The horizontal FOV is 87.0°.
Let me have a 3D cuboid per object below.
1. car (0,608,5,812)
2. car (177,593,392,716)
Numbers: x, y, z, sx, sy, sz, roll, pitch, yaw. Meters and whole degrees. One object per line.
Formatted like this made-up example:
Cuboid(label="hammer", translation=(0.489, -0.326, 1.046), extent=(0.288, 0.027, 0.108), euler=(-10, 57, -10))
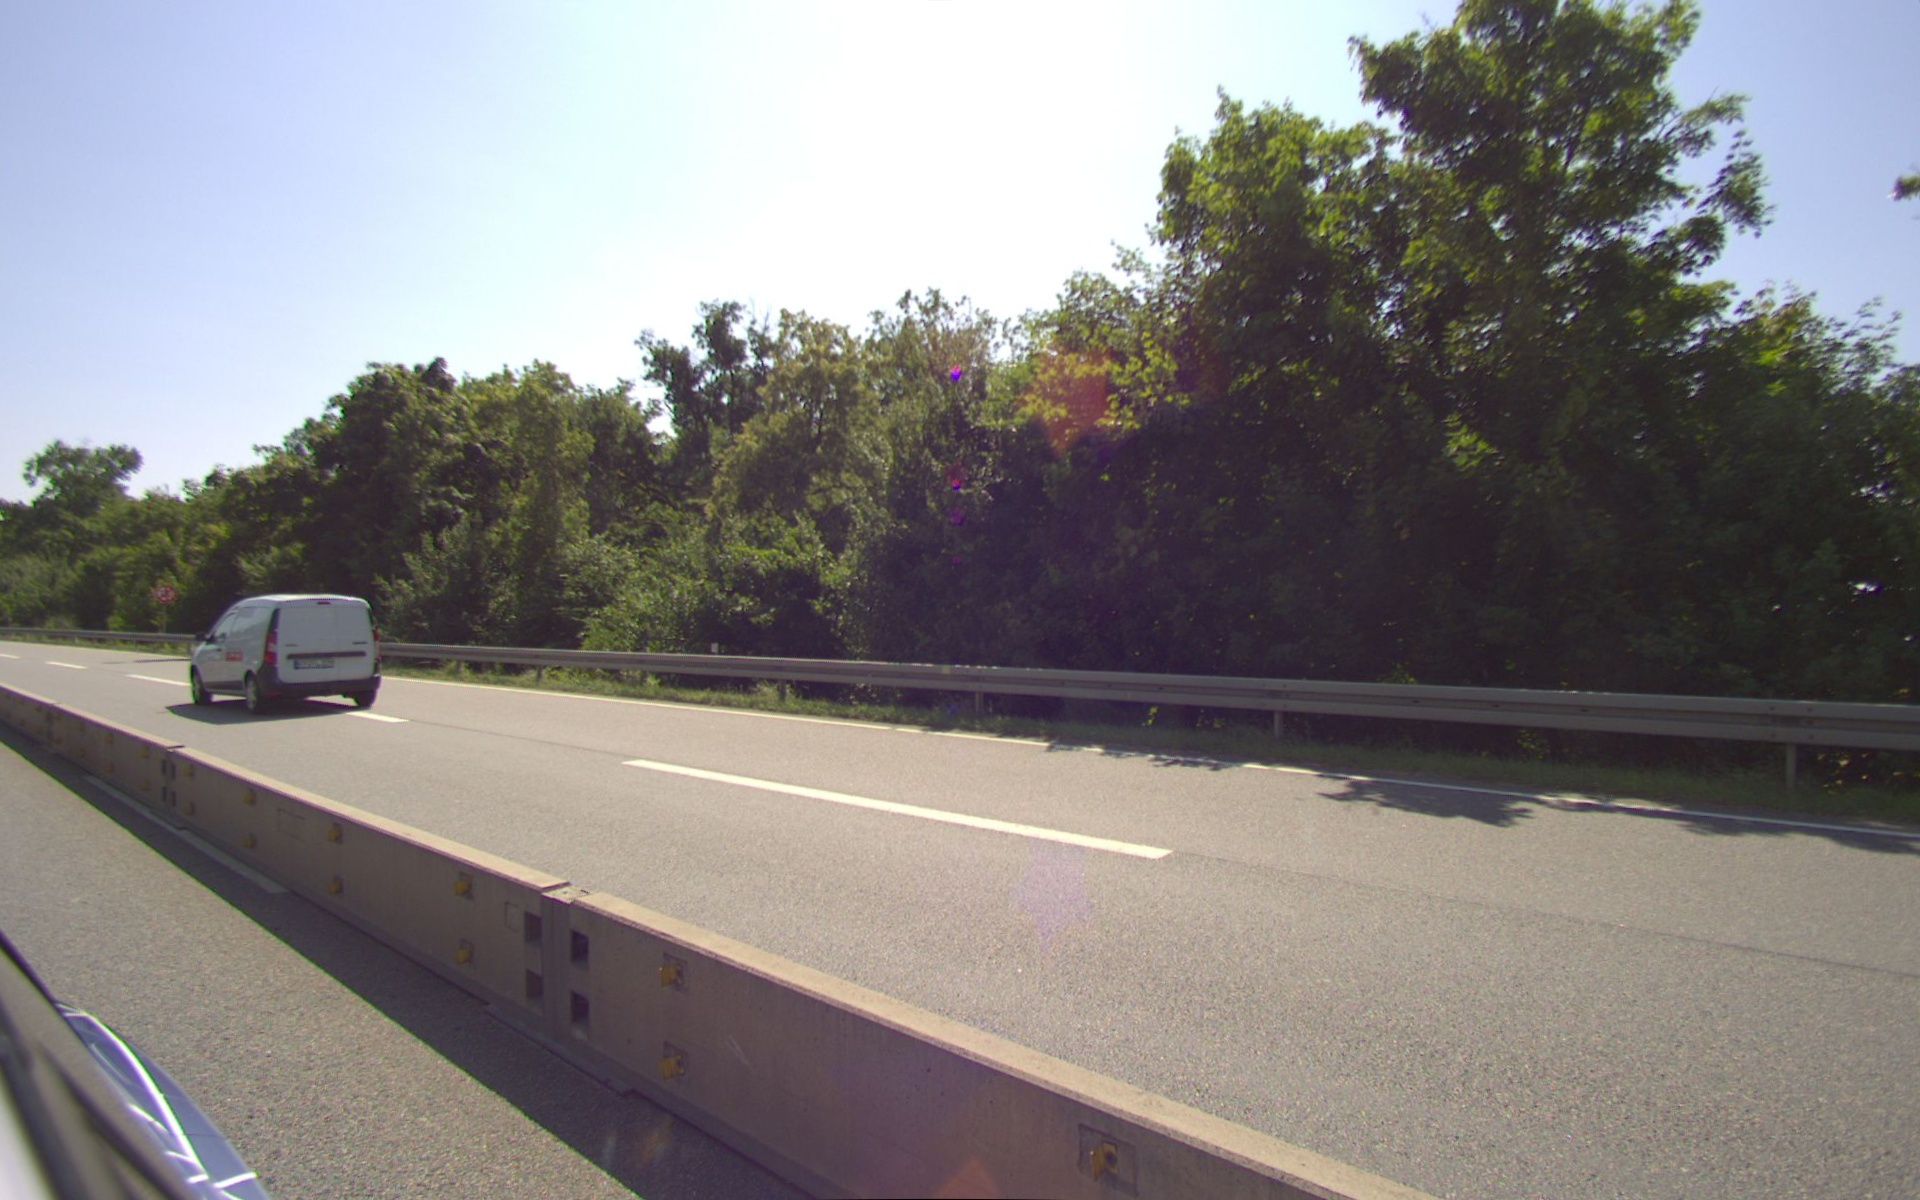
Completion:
Cuboid(label="car", translation=(-9.772, 0.880, 8.702), extent=(4.933, 1.557, 1.823), euler=(-1, -1, 41))
Cuboid(label="car", translation=(-11.142, 0.829, 16.591), extent=(4.279, 1.778, 1.738), euler=(-1, -1, 39))
